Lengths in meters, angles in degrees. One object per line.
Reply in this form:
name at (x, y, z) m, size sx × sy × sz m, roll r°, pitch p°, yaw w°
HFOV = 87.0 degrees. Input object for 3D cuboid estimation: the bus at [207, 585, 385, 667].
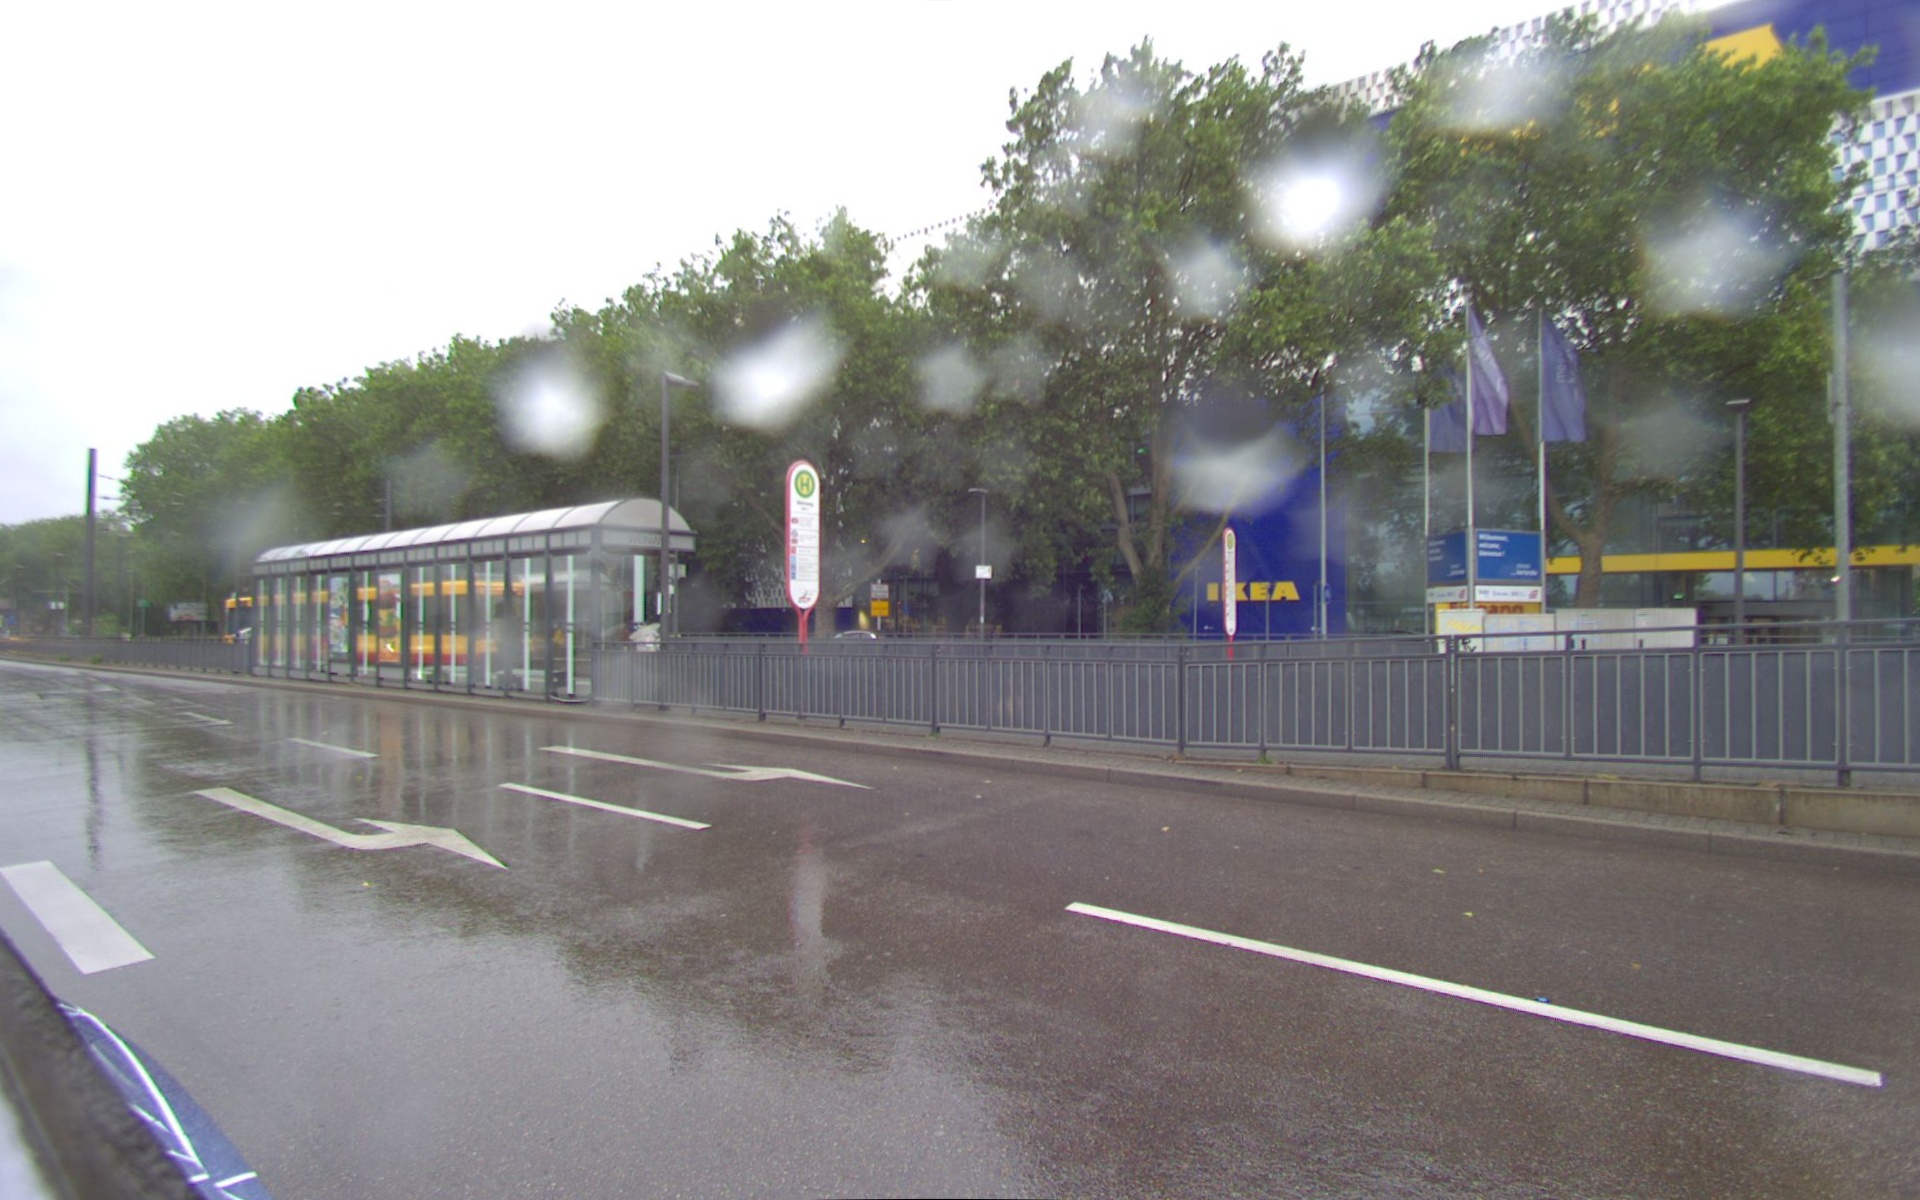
bus at (-31.673, 1.132, 47.764) m, size 15.052 × 3.354 × 2.901 m, roll -1°, pitch 0°, yaw 40°

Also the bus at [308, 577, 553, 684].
bus at (-20.299, 1.013, 37.917) m, size 15.056 × 3.354 × 2.900 m, roll -1°, pitch 0°, yaw 41°
